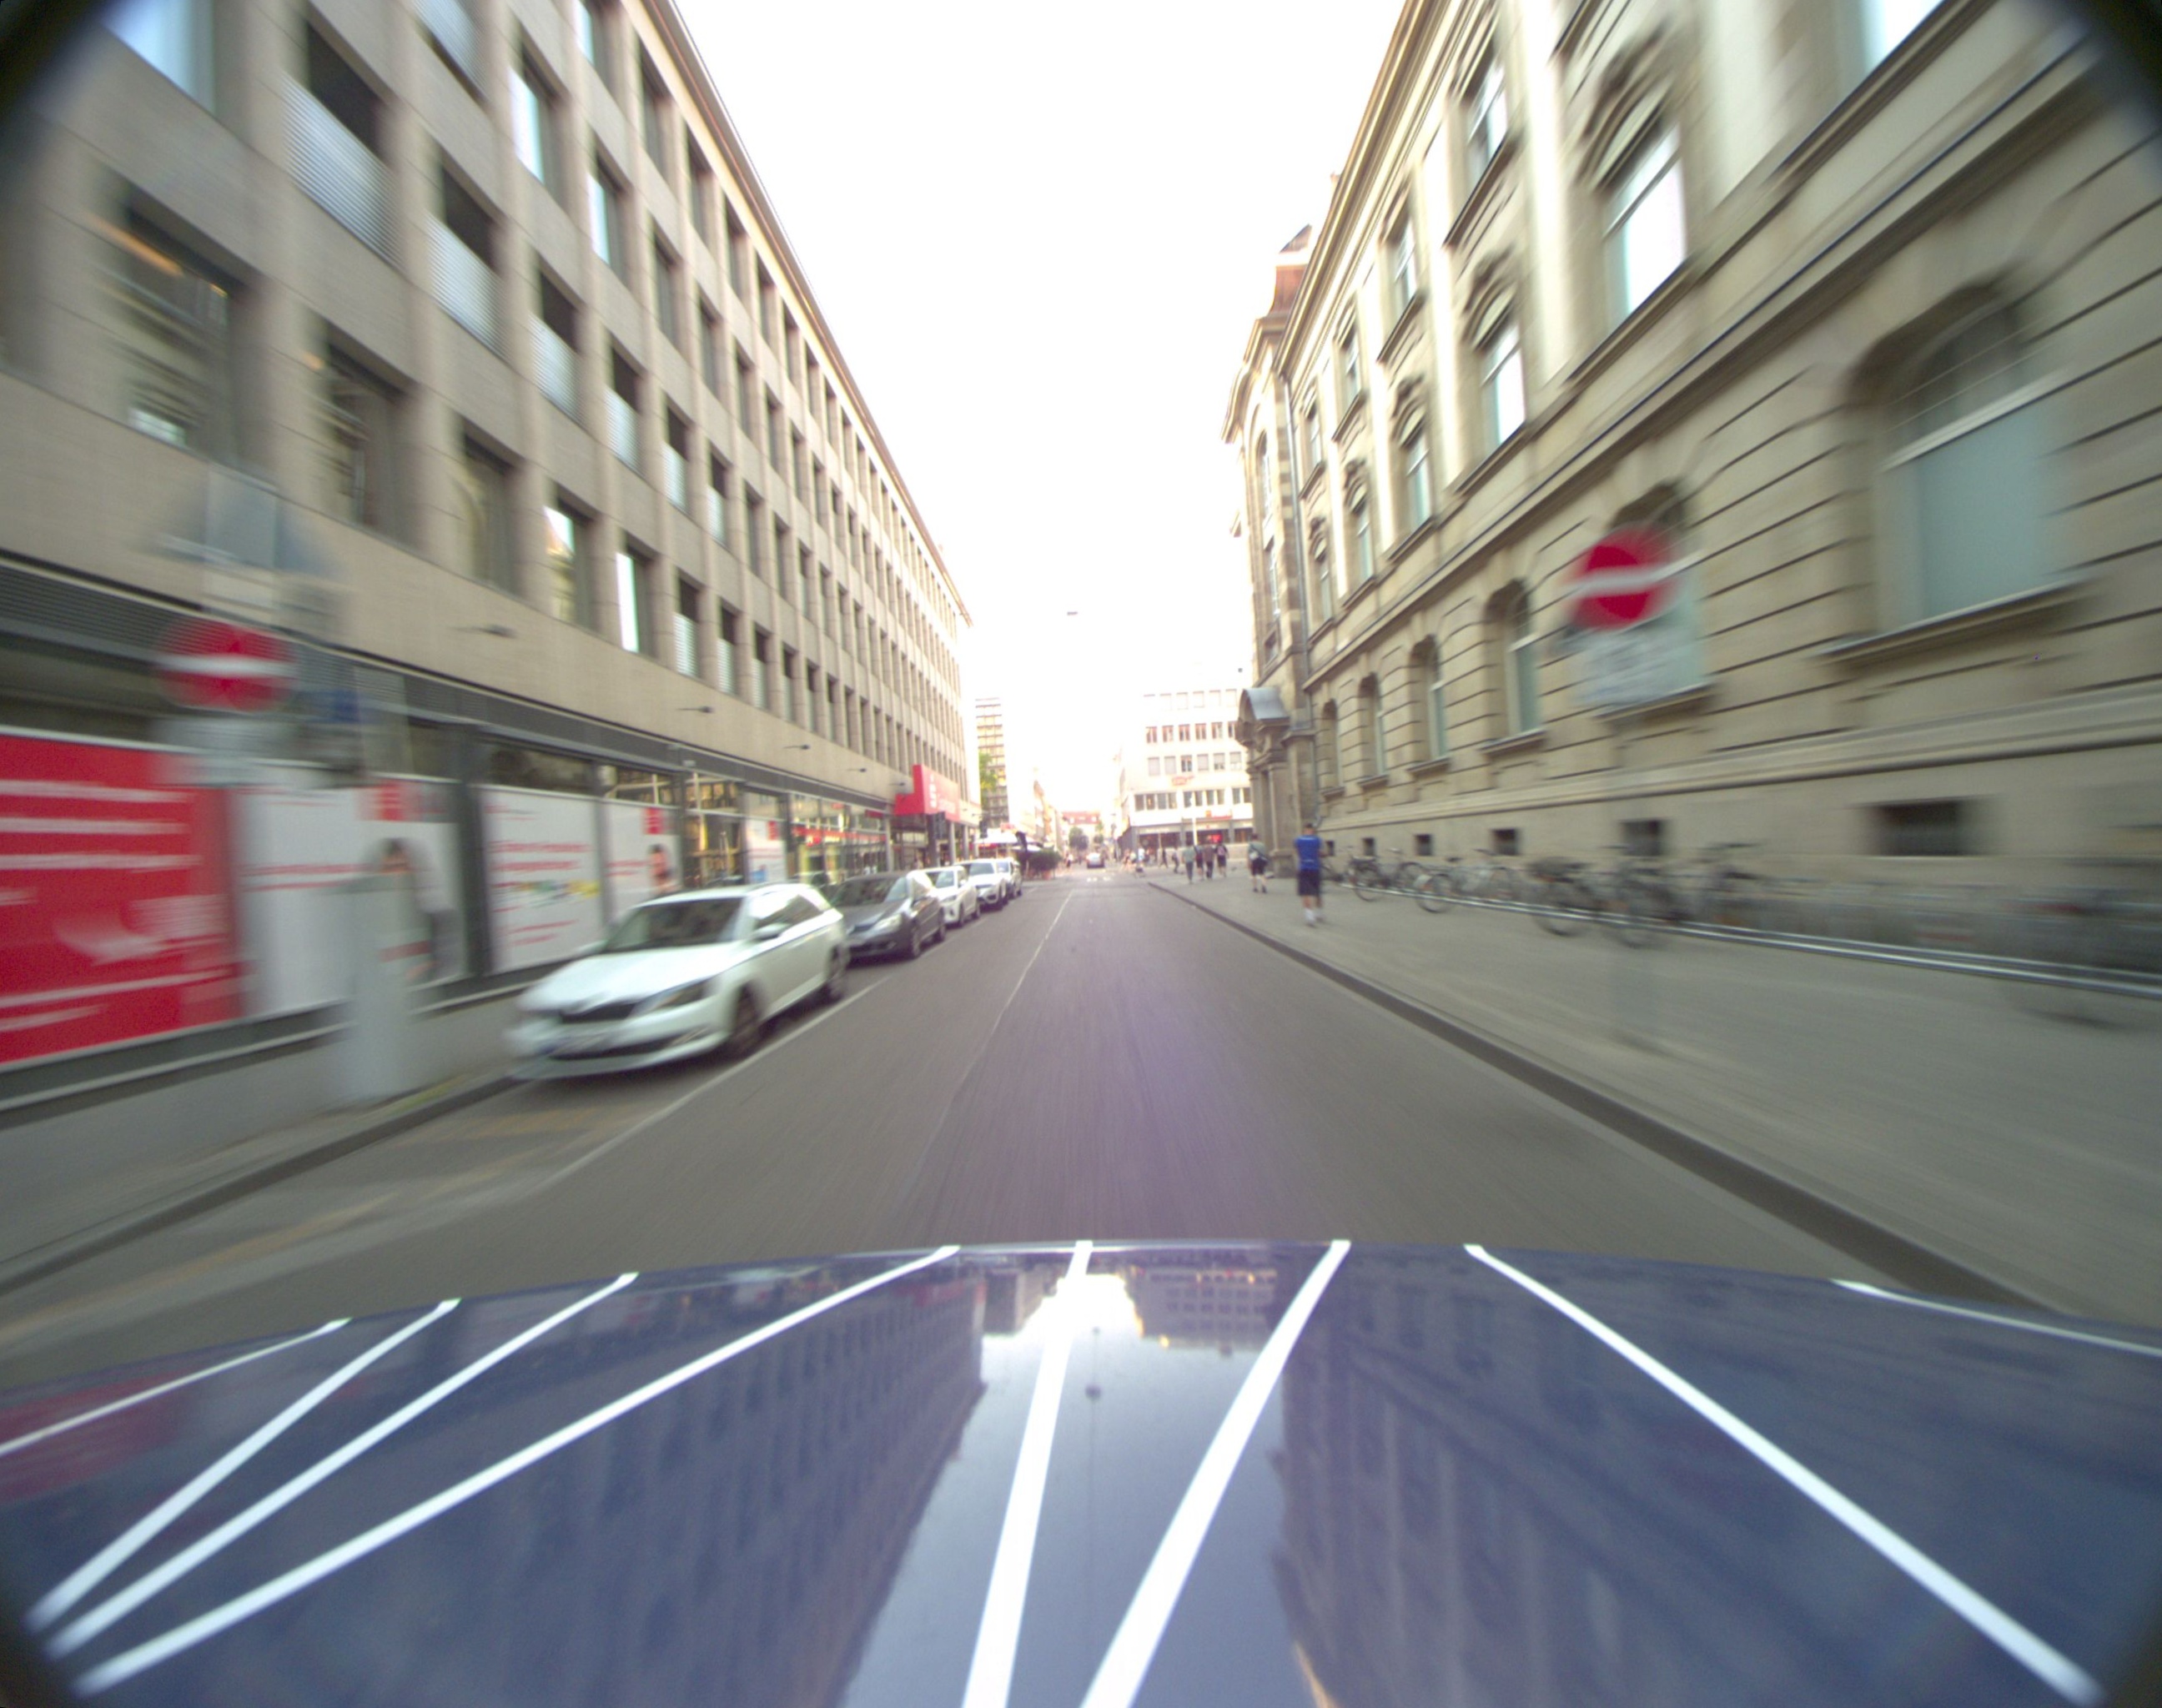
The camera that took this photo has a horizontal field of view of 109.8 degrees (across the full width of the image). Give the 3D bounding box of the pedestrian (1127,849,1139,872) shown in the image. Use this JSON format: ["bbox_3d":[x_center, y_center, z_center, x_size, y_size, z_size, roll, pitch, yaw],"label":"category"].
[{"bbox_3d":[3.790,0.470,55.844,0.795,1.679,0.769,-3,0,3],"label":"pedestrian"}]

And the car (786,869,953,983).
[{"bbox_3d":[-3.552,1.127,13.629,1.661,1.439,4.444,-5,1,0],"label":"car"}]

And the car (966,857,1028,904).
[{"bbox_3d":[-3.311,1.006,30.783,1.744,1.589,4.714,-5,0,1],"label":"car"}]

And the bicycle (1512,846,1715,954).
[{"bbox_3d":[6.413,0.529,9.201,1.943,1.072,0.730,-5,1,-6],"label":"bicycle"}]

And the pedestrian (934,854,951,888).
[{"bbox_3d":[-8.026,0.991,44.078,0.799,1.907,0.687,-3,0,0],"label":"pedestrian"}]

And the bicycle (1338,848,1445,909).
[{"bbox_3d":[6.598,0.502,16.141,2.026,1.072,0.729,-6,1,-18],"label":"bicycle"}]

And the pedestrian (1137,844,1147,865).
[{"bbox_3d":[5.671,0.084,70.347,0.783,1.881,0.642,-4,1,1],"label":"pedestrian"}]

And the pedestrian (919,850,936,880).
[{"bbox_3d":[-9.123,0.641,45.287,0.799,1.751,0.687,-3,0,-3],"label":"pedestrian"}]

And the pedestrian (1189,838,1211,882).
[{"bbox_3d":[5.105,0.247,32.736,0.718,1.819,0.870,-7,0,8],"label":"pedestrian"}]

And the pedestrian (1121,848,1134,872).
[{"bbox_3d":[3.368,0.461,55.027,0.795,1.679,0.769,-3,0,3],"label":"pedestrian"}]

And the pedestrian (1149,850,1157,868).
[{"bbox_3d":[6.950,0.462,73.293,0.545,1.698,0.558,-4,1,1],"label":"pedestrian"}]

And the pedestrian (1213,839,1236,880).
[{"bbox_3d":[6.082,0.217,32.309,0.757,1.632,0.749,-7,0,8],"label":"pedestrian"}]

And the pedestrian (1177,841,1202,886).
[{"bbox_3d":[4.388,0.377,30.790,0.727,1.732,0.839,-7,0,4],"label":"pedestrian"}]

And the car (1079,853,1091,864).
[{"bbox_3d":[0.714,0.776,125.945,1.798,1.705,4.001,-3,0,2],"label":"car"}]

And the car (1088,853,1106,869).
[{"bbox_3d":[1.761,0.761,83.907,1.824,1.728,4.000,-3,0,0],"label":"car"}]

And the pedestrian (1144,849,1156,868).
[{"bbox_3d":[5.906,0.403,65.191,0.676,1.532,0.641,-4,1,-19],"label":"pedestrian"}]

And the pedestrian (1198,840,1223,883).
[{"bbox_3d":[5.279,0.292,31.031,0.731,1.658,0.858,-7,0,4],"label":"pedestrian"}]

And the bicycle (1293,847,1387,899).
[{"bbox_3d":[6.459,0.461,19.018,2.024,1.102,0.730,-5,1,-5],"label":"bicycle"}]

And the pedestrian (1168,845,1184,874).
[{"bbox_3d":[5.669,0.324,45.176,0.742,1.649,0.754,-3,0,17],"label":"pedestrian"}]

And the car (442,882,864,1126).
[{"bbox_3d":[-3.712,1.171,7.657,1.661,1.439,4.307,-5,1,1],"label":"car"}]

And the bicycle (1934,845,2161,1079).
[{"bbox_3d":[6.260,0.540,4.389,1.943,1.072,0.730,-5,1,-6],"label":"bicycle"}]

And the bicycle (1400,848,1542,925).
[{"bbox_3d":[6.496,0.518,12.698,1.942,1.072,0.730,-5,1,-3],"label":"bicycle"}]

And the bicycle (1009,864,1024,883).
[{"bbox_3d":[-3.707,1.093,43.554,0.330,1.027,1.865,-3,0,10],"label":"bicycle"}]

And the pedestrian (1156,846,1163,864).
[{"bbox_3d":[7.401,0.081,71.569,0.545,1.698,0.558,-4,1,1],"label":"pedestrian"}]

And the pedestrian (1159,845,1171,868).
[{"bbox_3d":[6.194,0.184,56.131,0.732,1.679,0.746,-3,0,3],"label":"pedestrian"}]

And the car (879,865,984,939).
[{"bbox_3d":[-3.637,1.128,19.179,1.660,1.439,3.869,-5,1,2],"label":"car"}]

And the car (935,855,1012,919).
[{"bbox_3d":[-3.353,0.970,24.658,1.780,1.656,4.812,-5,1,-1],"label":"car"}]

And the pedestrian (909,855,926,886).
[{"bbox_3d":[-9.512,0.938,44.326,0.799,1.751,0.687,-3,0,-4],"label":"pedestrian"}]

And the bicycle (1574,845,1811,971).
[{"bbox_3d":[6.407,0.537,8.012,1.943,1.072,0.730,-5,1,-6],"label":"bicycle"}]

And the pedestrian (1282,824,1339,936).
[{"bbox_3d":[3.859,0.420,12.807,0.777,1.778,0.821,-4,1,16],"label":"pedestrian"}]

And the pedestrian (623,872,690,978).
[{"bbox_3d":[-6.807,1.125,12.219,0.650,1.626,0.650,-2,1,0],"label":"pedestrian"}]

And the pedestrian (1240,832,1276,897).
[{"bbox_3d":[5.017,0.290,21.568,0.719,1.770,0.800,-5,1,2],"label":"pedestrian"}]

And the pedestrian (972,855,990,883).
[{"bbox_3d":[-6.340,0.965,48.125,0.685,1.751,0.801,-3,1,42],"label":"pedestrian"}]
